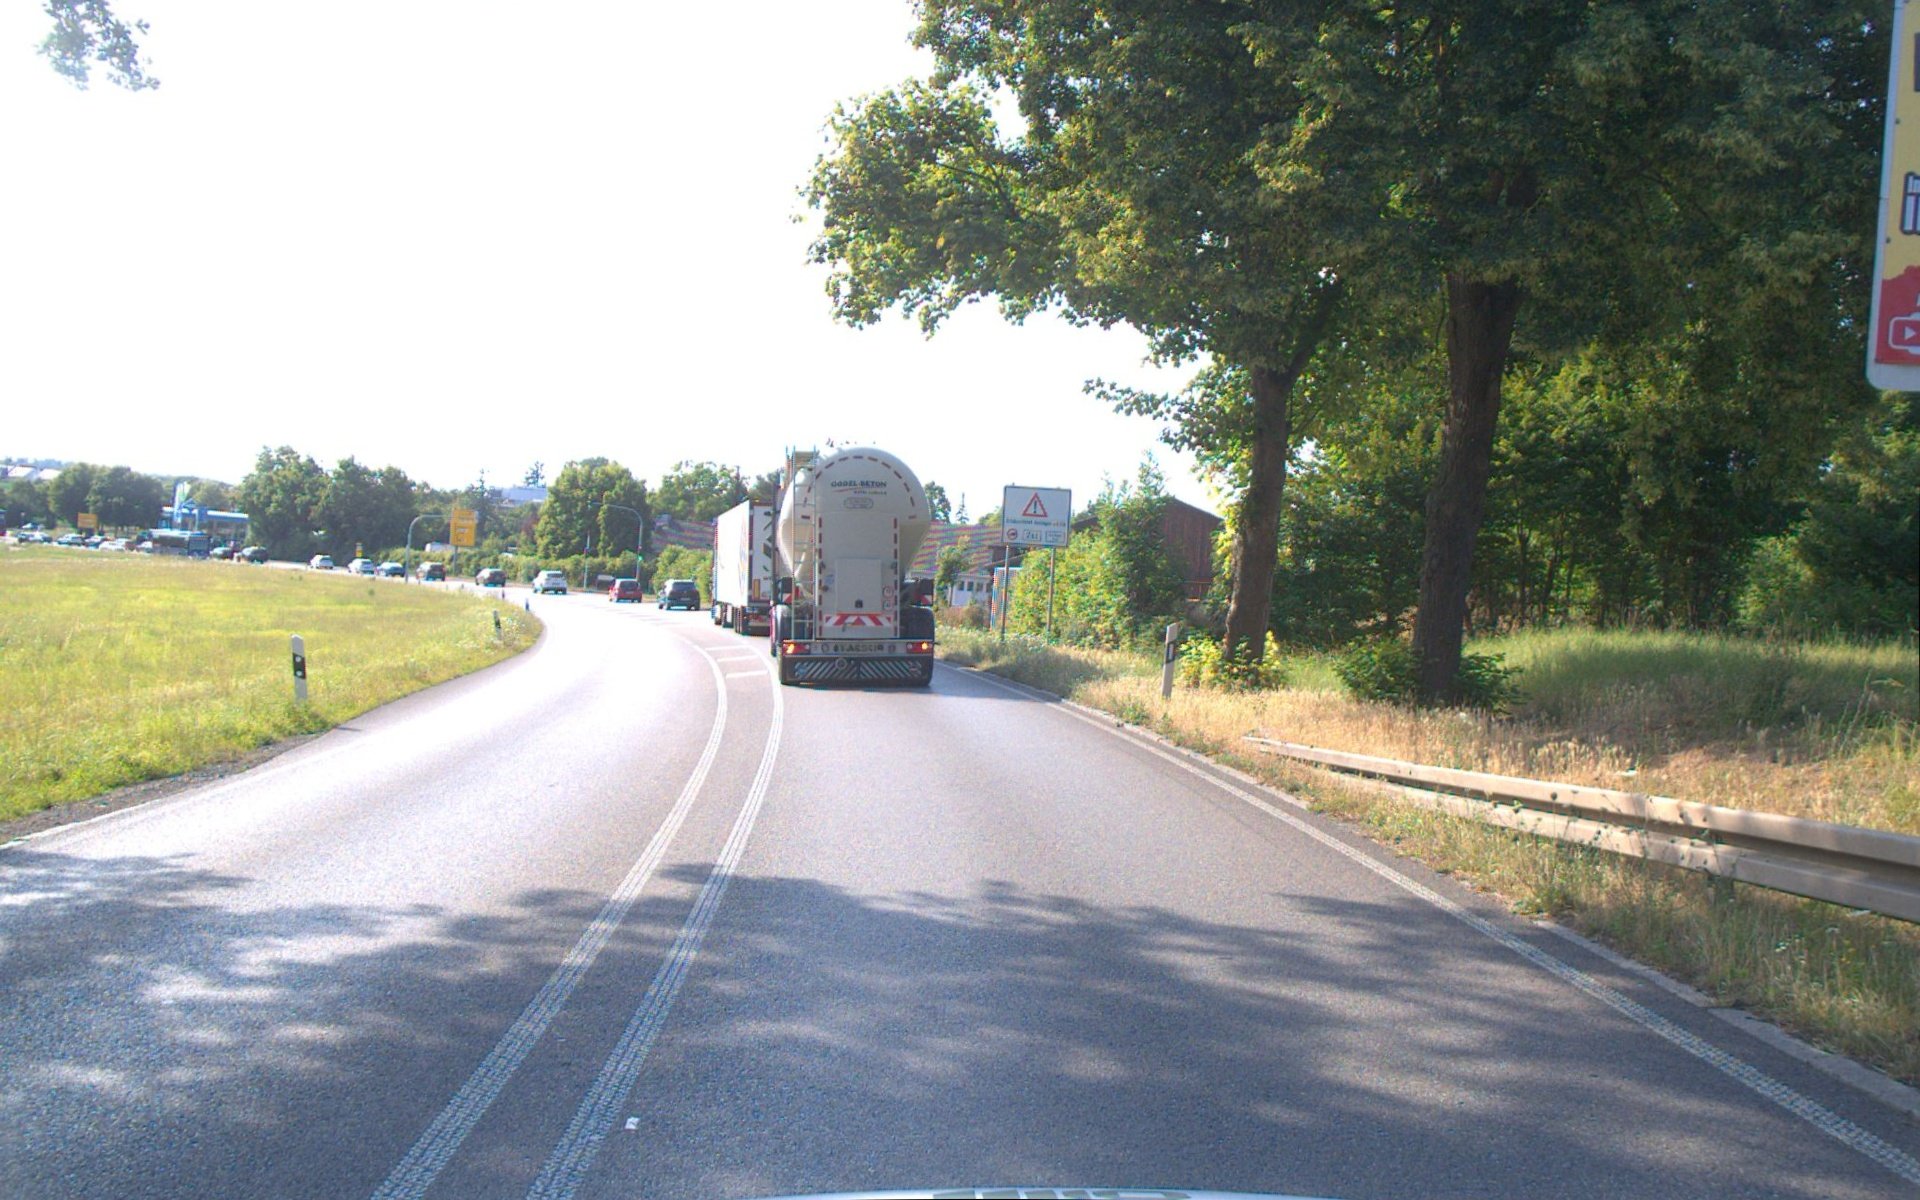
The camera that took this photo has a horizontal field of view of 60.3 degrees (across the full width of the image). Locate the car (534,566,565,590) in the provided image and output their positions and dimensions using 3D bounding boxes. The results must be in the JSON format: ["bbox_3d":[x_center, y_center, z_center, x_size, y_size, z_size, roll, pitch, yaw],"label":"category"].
[{"bbox_3d":[-30.858,-1.639,124.165,1.814,1.685,3.976,1,0,-20],"label":"car"}]

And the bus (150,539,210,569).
[{"bbox_3d":[-91.831,-5.373,194.599,2.782,3.237,11.930,2,-1,-44],"label":"bus"}]

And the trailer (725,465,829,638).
[{"bbox_3d":[-5.998,-1.378,53.289,2.908,4.967,10.270,1,0,-8],"label":"trailer"}]

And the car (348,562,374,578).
[{"bbox_3d":[-62.972,-3.115,173.961,1.664,1.586,3.826,1,0,-34],"label":"car"}]

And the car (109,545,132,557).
[{"bbox_3d":[-113.252,-6.606,223.097,1.872,1.627,3.940,1,1,-42],"label":"car"}]

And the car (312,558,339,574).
[{"bbox_3d":[-71.523,-3.775,186.329,1.959,1.685,3.826,1,0,-34],"label":"car"}]

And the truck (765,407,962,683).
[{"bbox_3d":[-2.177,-0.823,31.629,2.919,4.248,11.643,1,0,-7],"label":"truck"}]

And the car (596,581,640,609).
[{"bbox_3d":[-21.507,-0.306,103.968,2.263,1.685,4.394,1,0,-17],"label":"car"}]

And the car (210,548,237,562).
[{"bbox_3d":[-91.132,-5.560,204.604,2.071,1.627,3.944,1,1,-39],"label":"car"}]

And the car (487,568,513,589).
[{"bbox_3d":[-38.678,-1.815,138.971,1.499,1.685,3.844,1,0,-24],"label":"car"}]

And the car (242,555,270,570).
[{"bbox_3d":[-84.183,-4.515,197.676,2.071,1.627,3.944,1,1,-39],"label":"car"}]

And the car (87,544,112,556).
[{"bbox_3d":[-118.242,-6.870,227.335,3.932,1.627,1.875,2,1,44],"label":"car"}]

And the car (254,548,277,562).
[{"bbox_3d":[-86.541,-5.609,206.108,1.716,1.685,3.818,2,-1,-39],"label":"car"}]

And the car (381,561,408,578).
[{"bbox_3d":[-56.543,-3.036,165.321,1.664,1.586,3.826,1,0,-34],"label":"car"}]

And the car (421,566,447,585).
[{"bbox_3d":[-49.571,-2.302,155.879,1.503,1.685,3.834,1,0,-30],"label":"car"}]

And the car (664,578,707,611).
[{"bbox_3d":[-14.485,-0.272,87.062,1.959,1.685,3.986,1,0,-13],"label":"car"}]
